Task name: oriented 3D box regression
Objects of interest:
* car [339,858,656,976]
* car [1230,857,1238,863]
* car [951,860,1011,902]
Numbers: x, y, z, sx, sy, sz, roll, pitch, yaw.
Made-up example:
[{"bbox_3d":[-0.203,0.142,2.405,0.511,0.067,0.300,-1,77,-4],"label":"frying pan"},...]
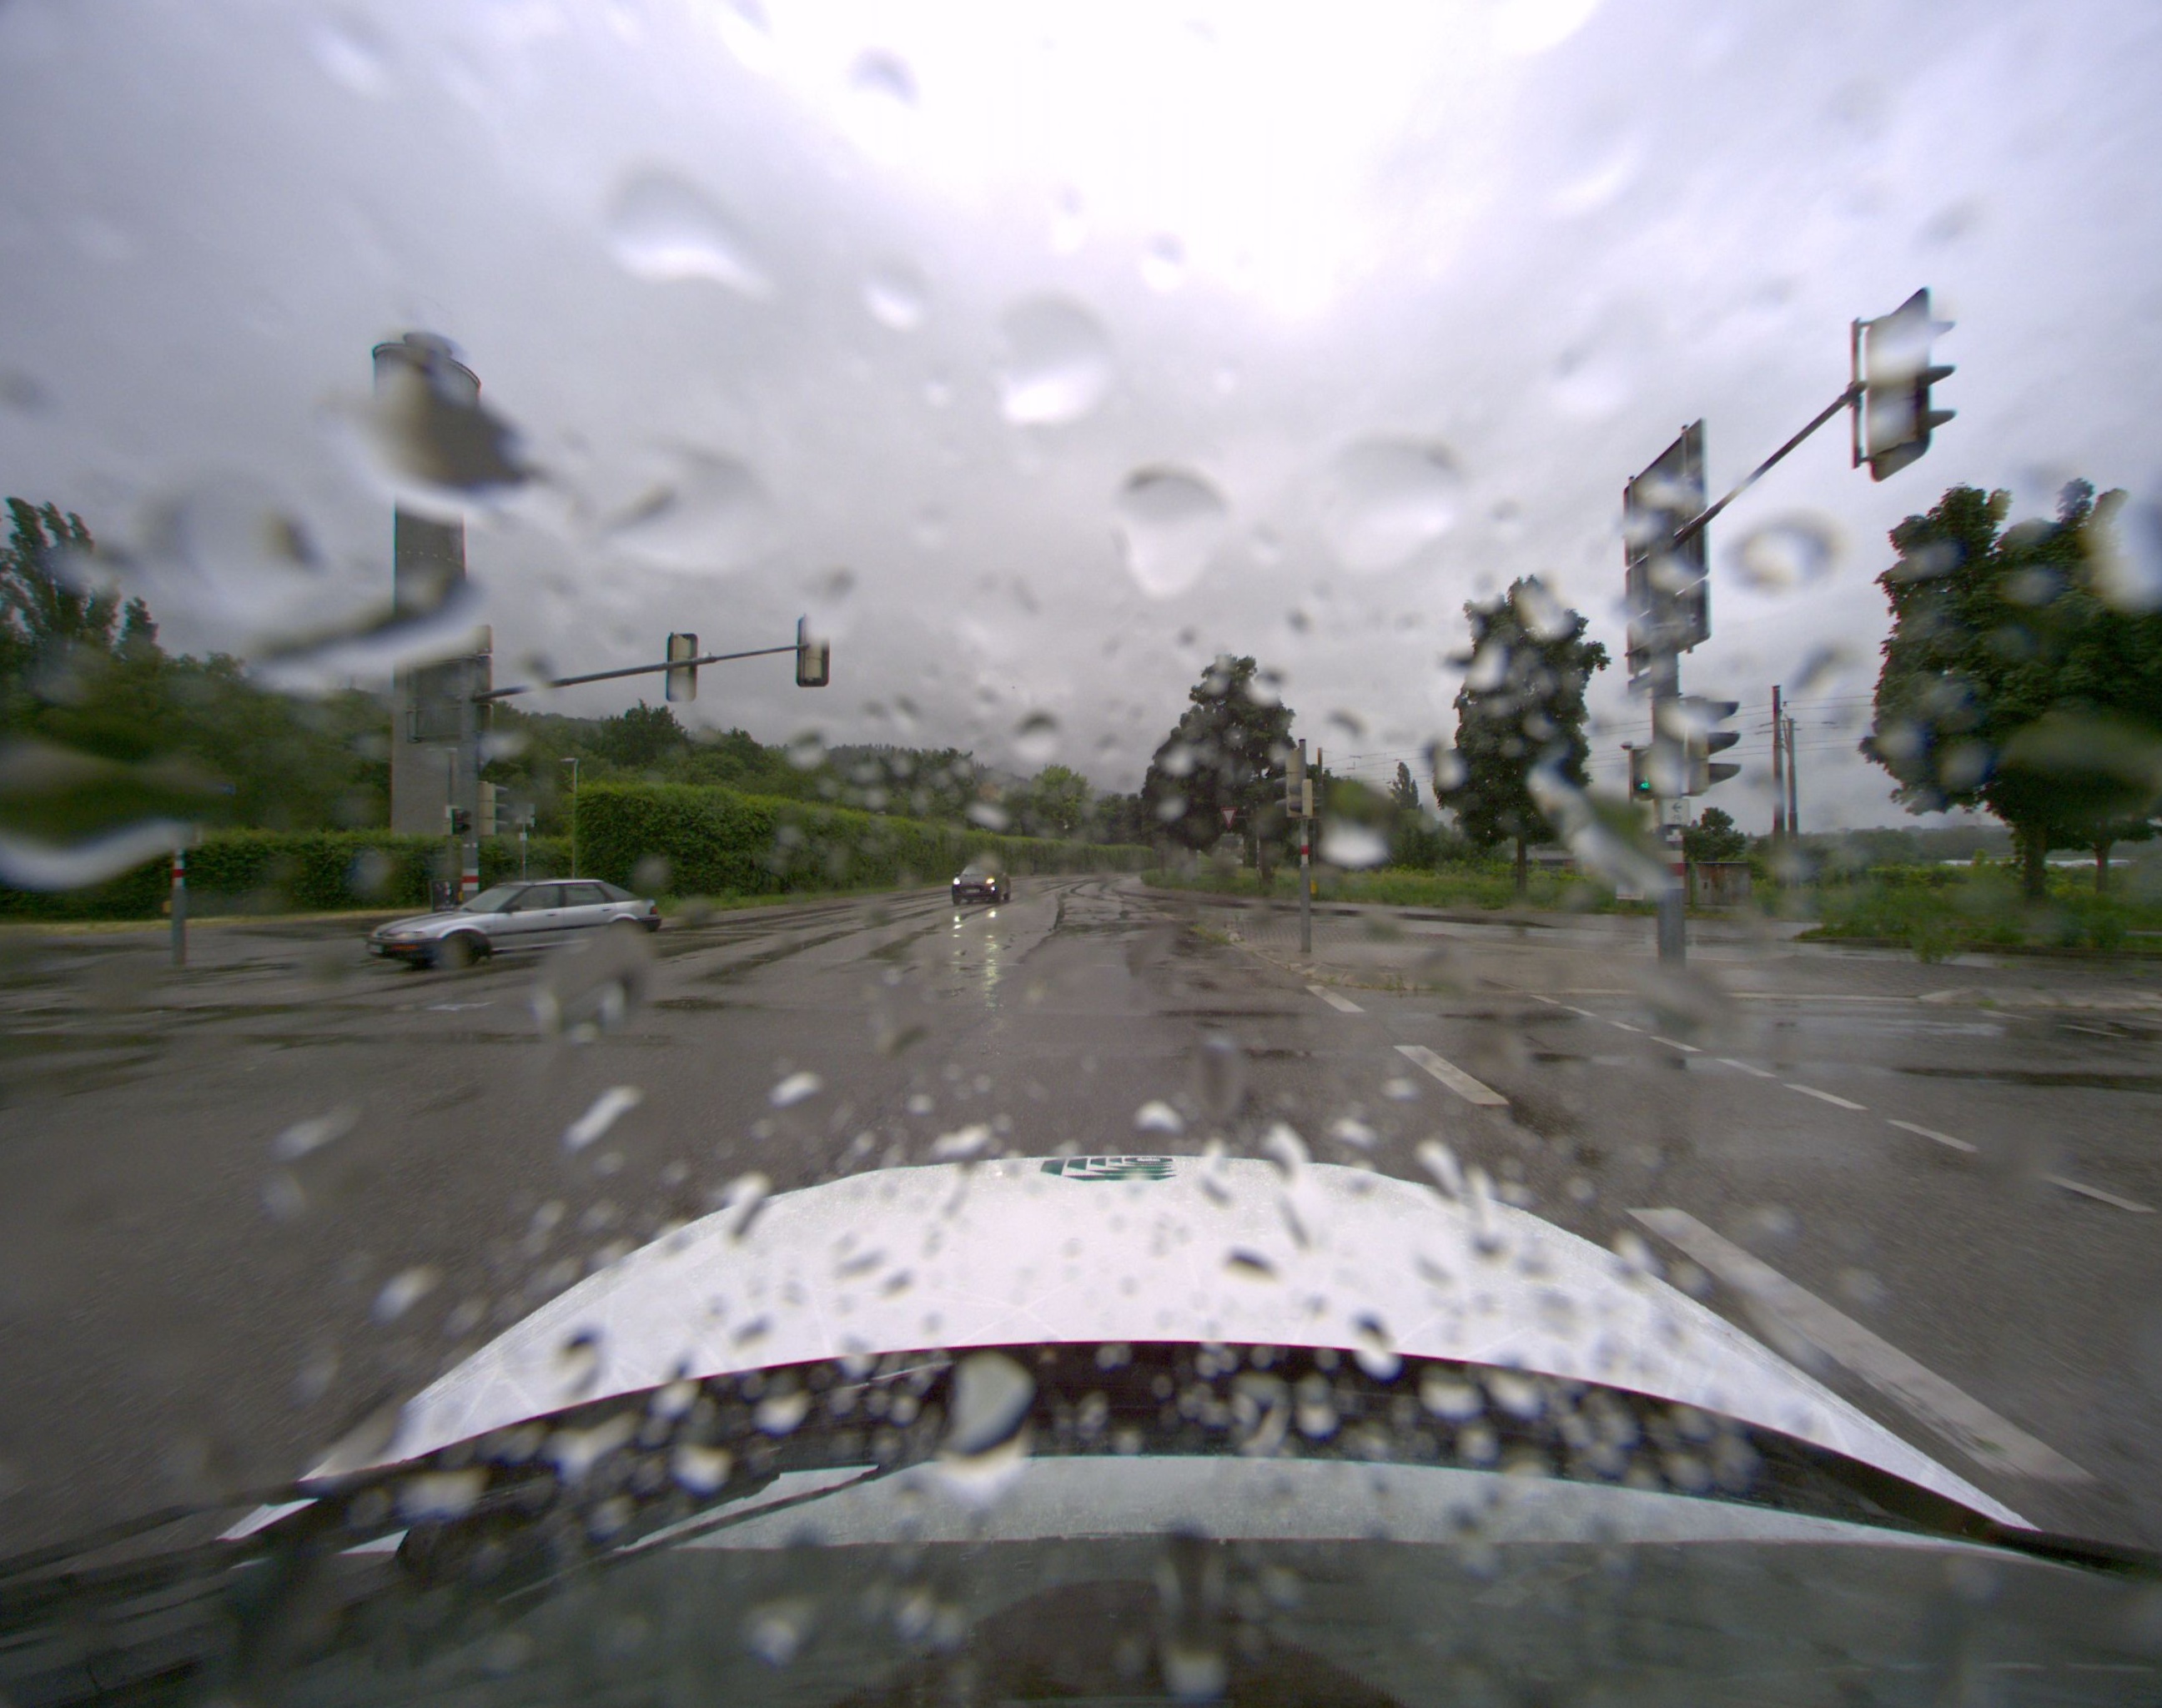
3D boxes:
[{"bbox_3d":[-10.092,0.946,14.421,2.017,1.708,4.091,0,0,31],"label":"car"},{"bbox_3d":[45.141,1.810,240.553,1.938,1.904,4.138,-1,0,16],"label":"car"},{"bbox_3d":[-3.850,1.003,31.930,1.778,1.505,4.061,-1,0,1],"label":"car"}]
